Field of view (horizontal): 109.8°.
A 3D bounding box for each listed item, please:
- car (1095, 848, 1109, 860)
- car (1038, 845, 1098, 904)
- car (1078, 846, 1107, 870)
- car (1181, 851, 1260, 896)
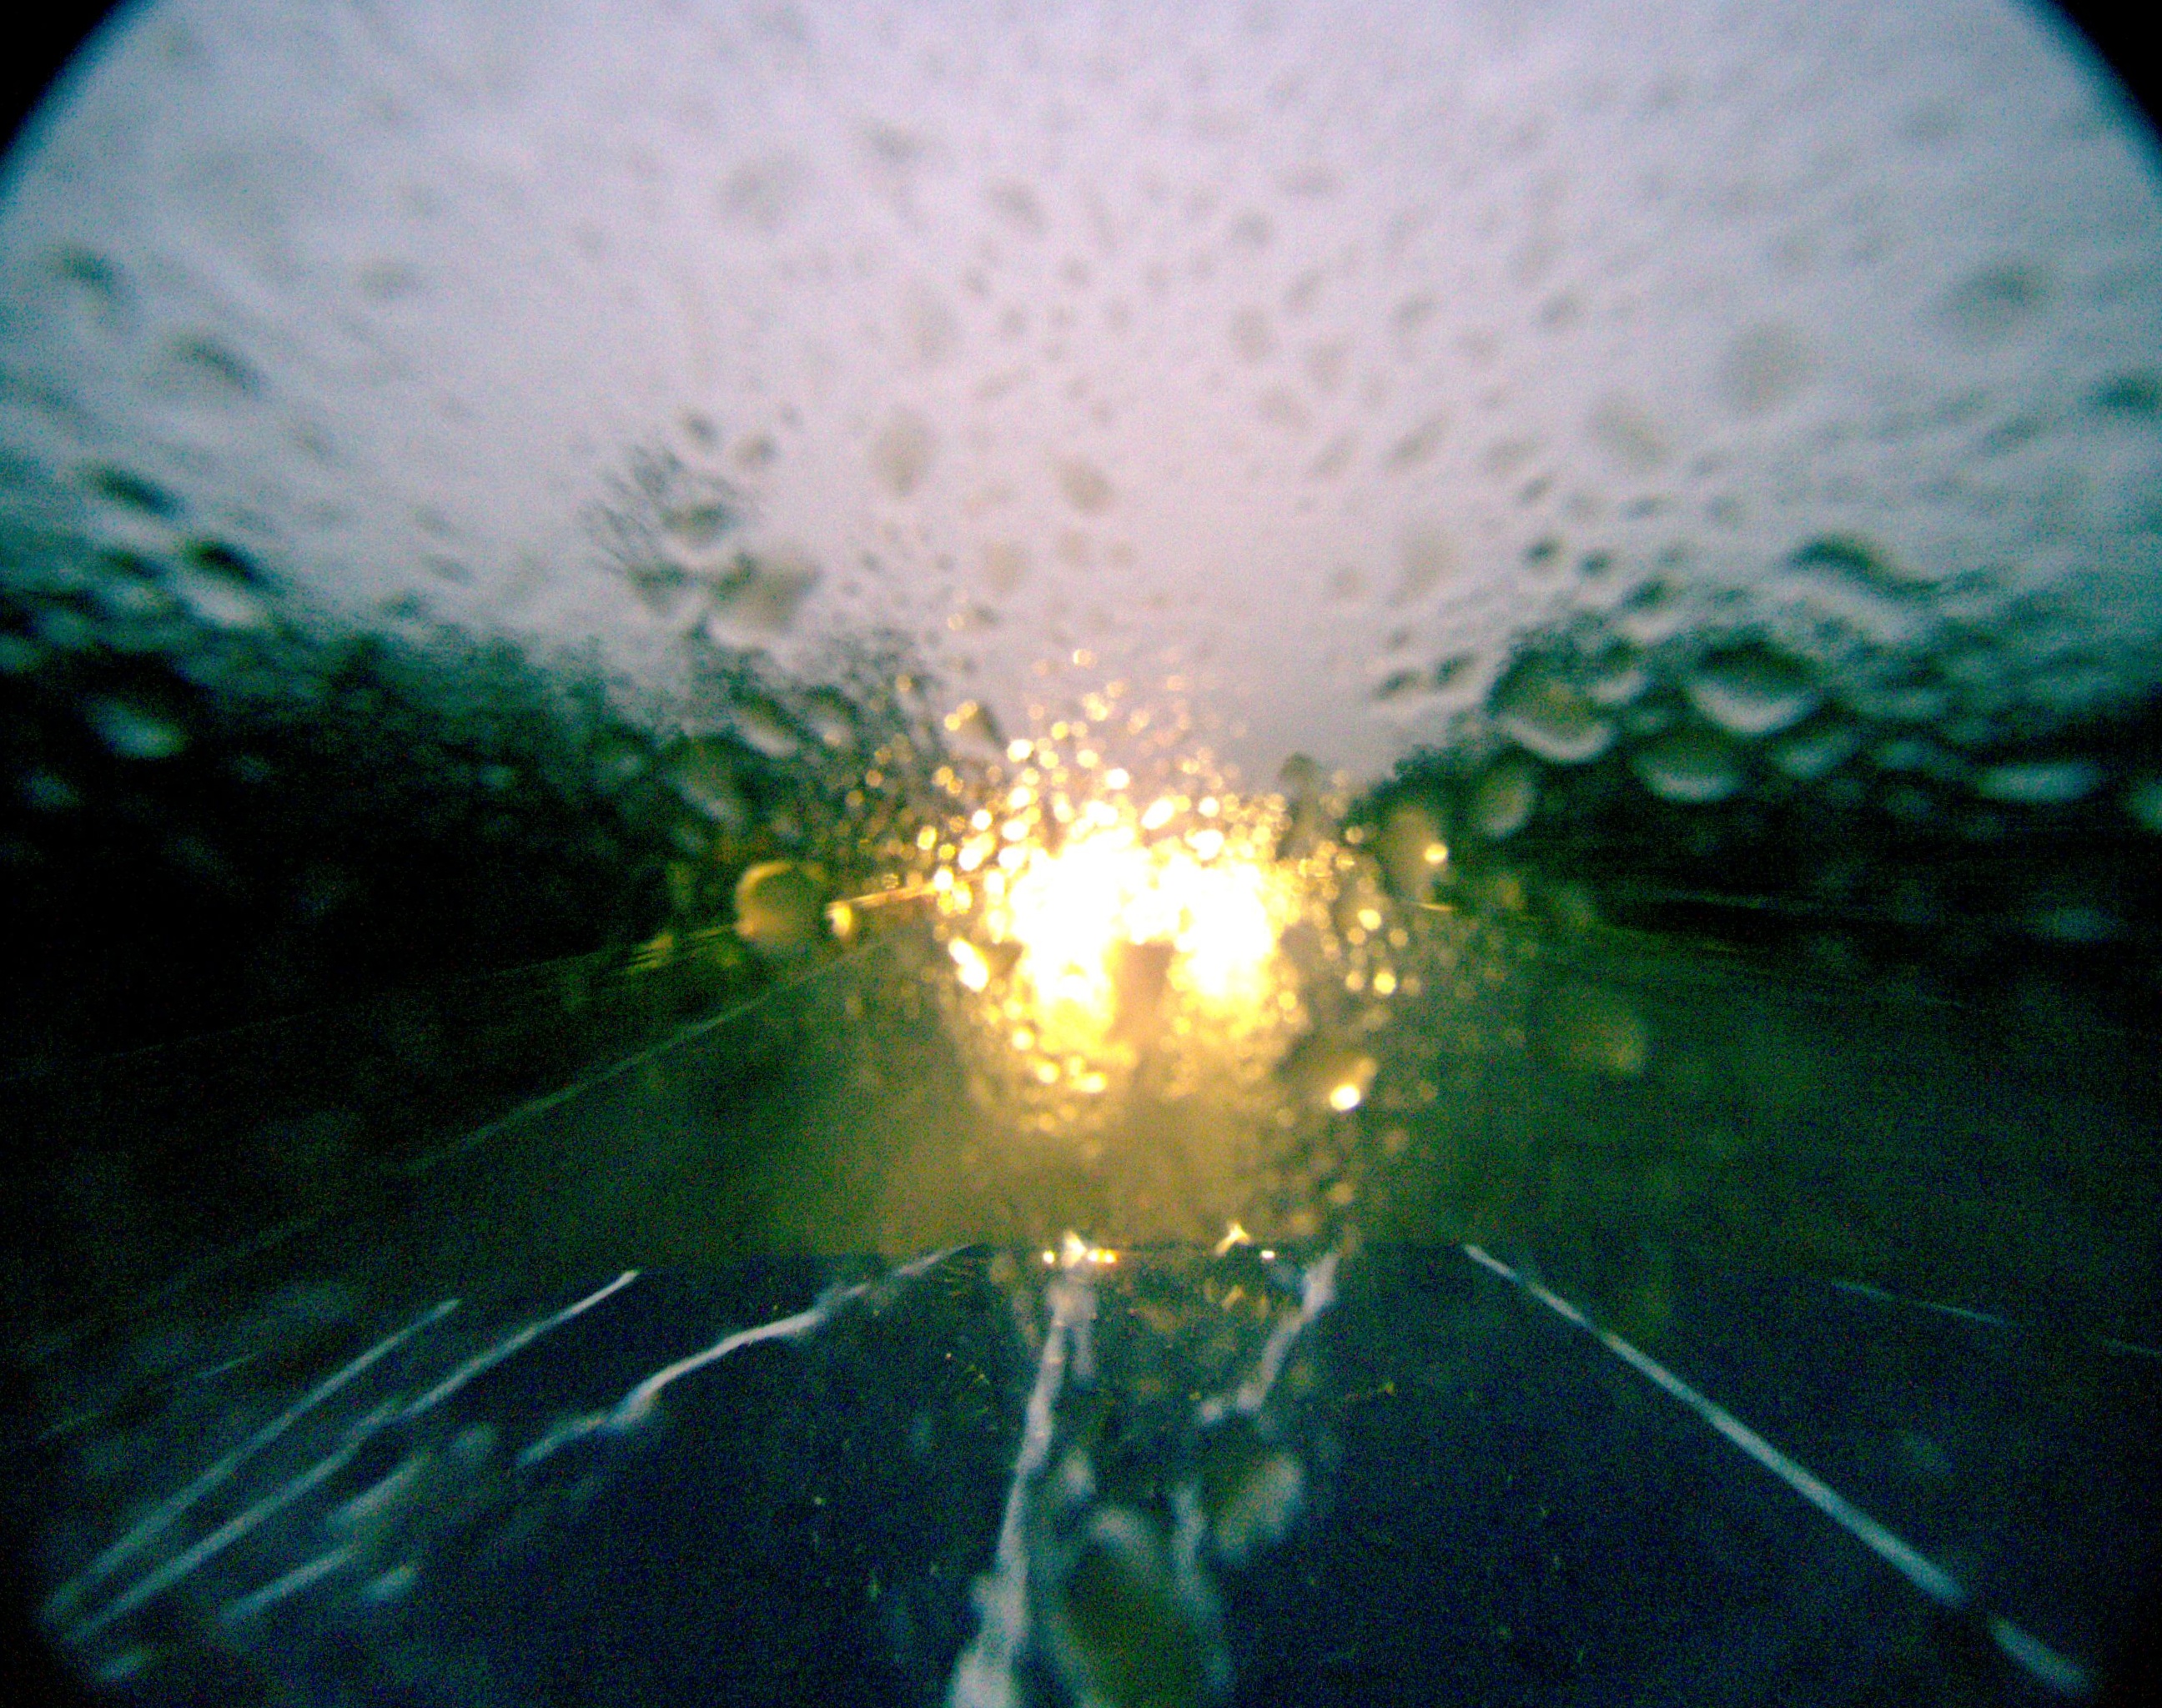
[{"bbox_3d":[2.366,-0.010,88.001,1.482,1.198,3.348,-3,1,0],"label":"car"},{"bbox_3d":[-0.454,0.700,28.271,1.999,2.002,3.963,-1,0,0],"label":"car"},{"bbox_3d":[0.842,0.228,52.015,1.653,1.503,3.874,0,2,5],"label":"car"},{"bbox_3d":[5.045,0.655,28.116,1.803,1.459,4.412,-3,0,-3],"label":"car"}]
